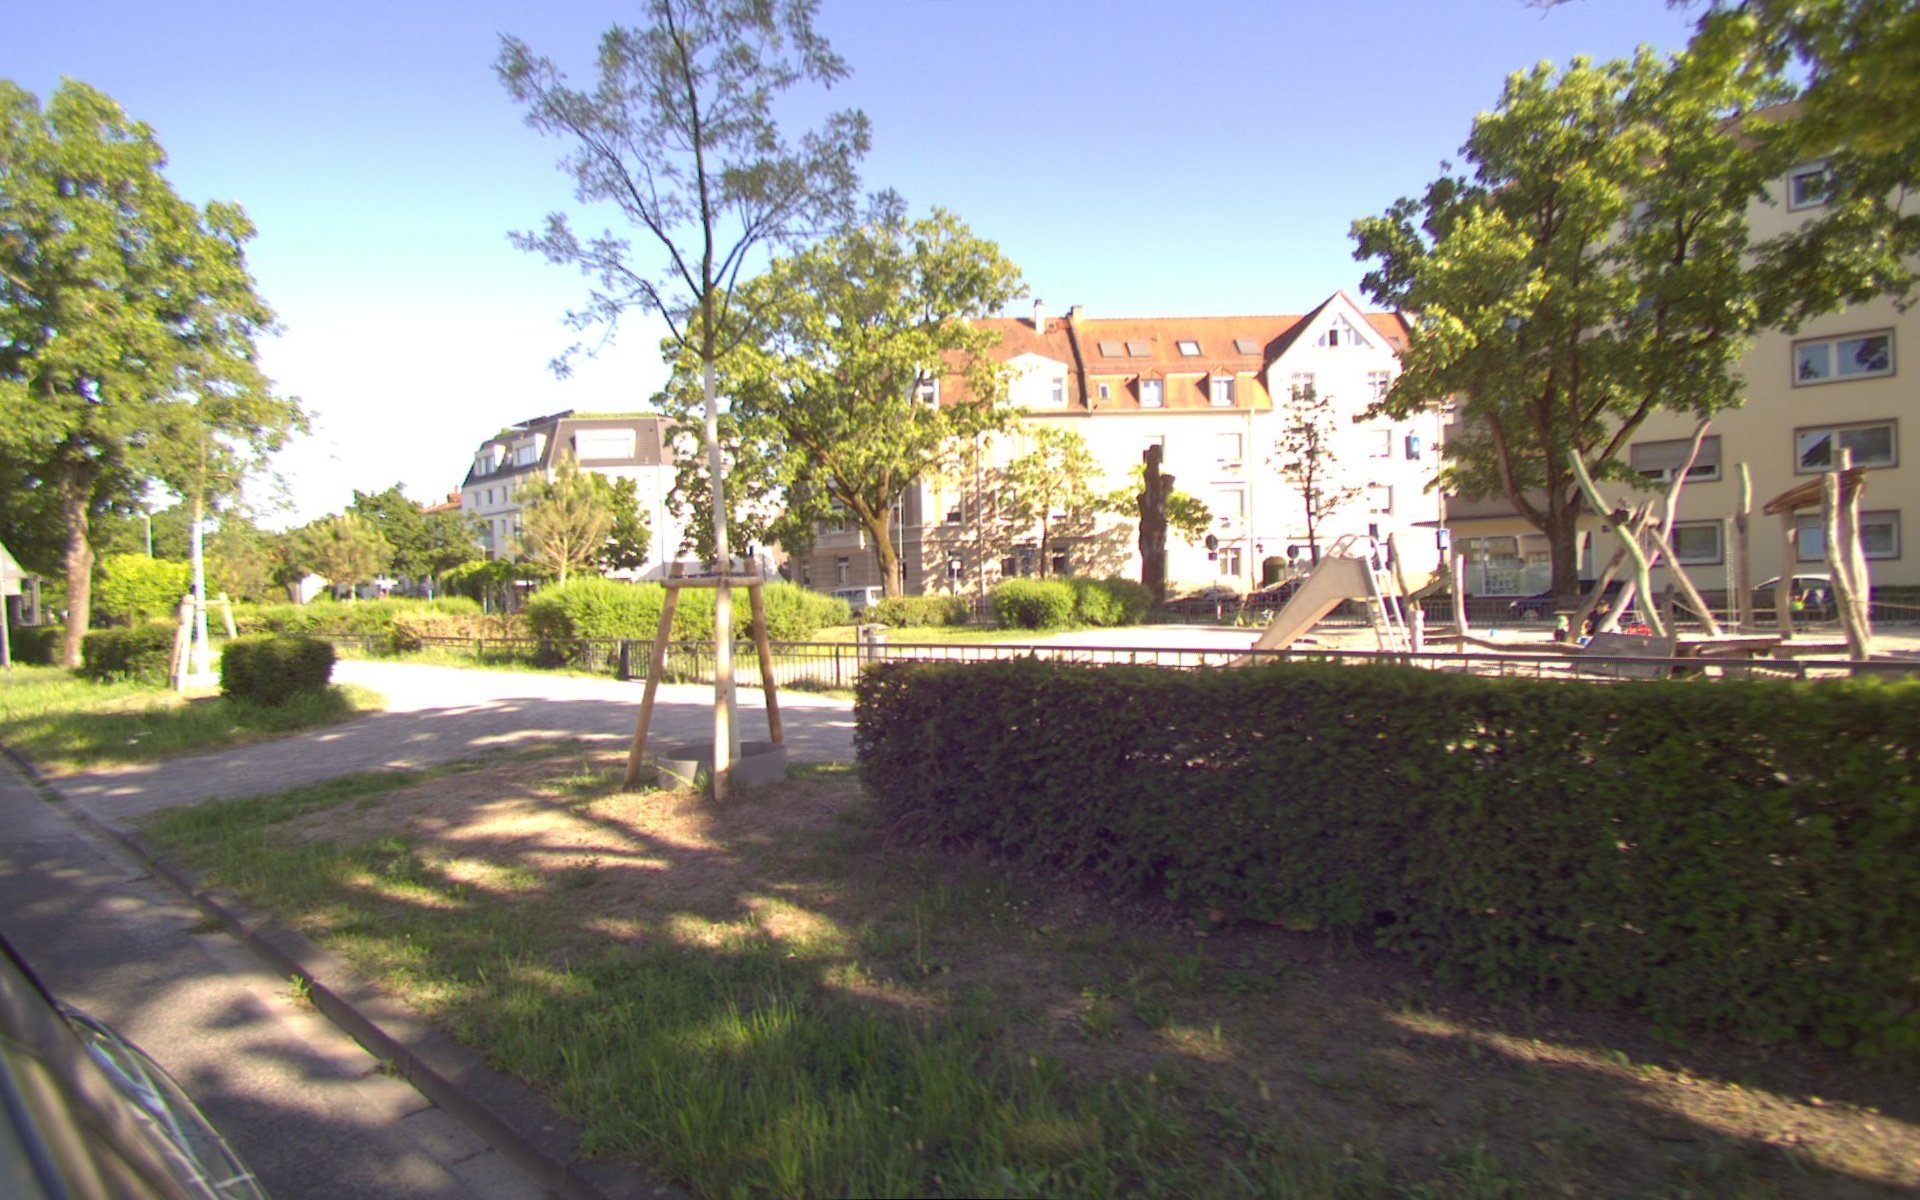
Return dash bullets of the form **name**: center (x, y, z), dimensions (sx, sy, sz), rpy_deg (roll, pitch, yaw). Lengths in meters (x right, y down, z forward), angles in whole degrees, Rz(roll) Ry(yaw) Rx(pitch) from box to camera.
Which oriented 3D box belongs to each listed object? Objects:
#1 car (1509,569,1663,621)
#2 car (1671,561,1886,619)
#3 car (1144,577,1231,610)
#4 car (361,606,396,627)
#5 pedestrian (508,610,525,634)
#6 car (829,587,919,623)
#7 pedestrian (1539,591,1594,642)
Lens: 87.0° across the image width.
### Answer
- **car**: center (20.352, -0.137, 32.992), dimensions (3.999, 1.521, 1.775), rpy_deg (-2, 0, 42)
- **car**: center (24.032, -0.267, 29.890), dimensions (4.761, 1.521, 1.887), rpy_deg (-2, 0, 41)
- **car**: center (11.661, -0.340, 51.944), dimensions (3.933, 1.521, 1.805), rpy_deg (-2, 0, -14)
- **car**: center (-59.834, 1.722, 104.159), dimensions (4.406, 2.044, 1.915), rpy_deg (-2, -1, 43)
- **pedestrian**: center (-23.440, 1.149, 53.478), dimensions (0.640, 1.247, 0.651), rpy_deg (-3, 1, -43)
- **car**: center (-4.369, 0.251, 50.962), dimensions (4.586, 1.647, 1.775), rpy_deg (-2, 0, 42)
- **pedestrian**: center (12.104, 0.333, 20.207), dimensions (0.535, 0.986, 0.779), rpy_deg (-2, 0, -41)
